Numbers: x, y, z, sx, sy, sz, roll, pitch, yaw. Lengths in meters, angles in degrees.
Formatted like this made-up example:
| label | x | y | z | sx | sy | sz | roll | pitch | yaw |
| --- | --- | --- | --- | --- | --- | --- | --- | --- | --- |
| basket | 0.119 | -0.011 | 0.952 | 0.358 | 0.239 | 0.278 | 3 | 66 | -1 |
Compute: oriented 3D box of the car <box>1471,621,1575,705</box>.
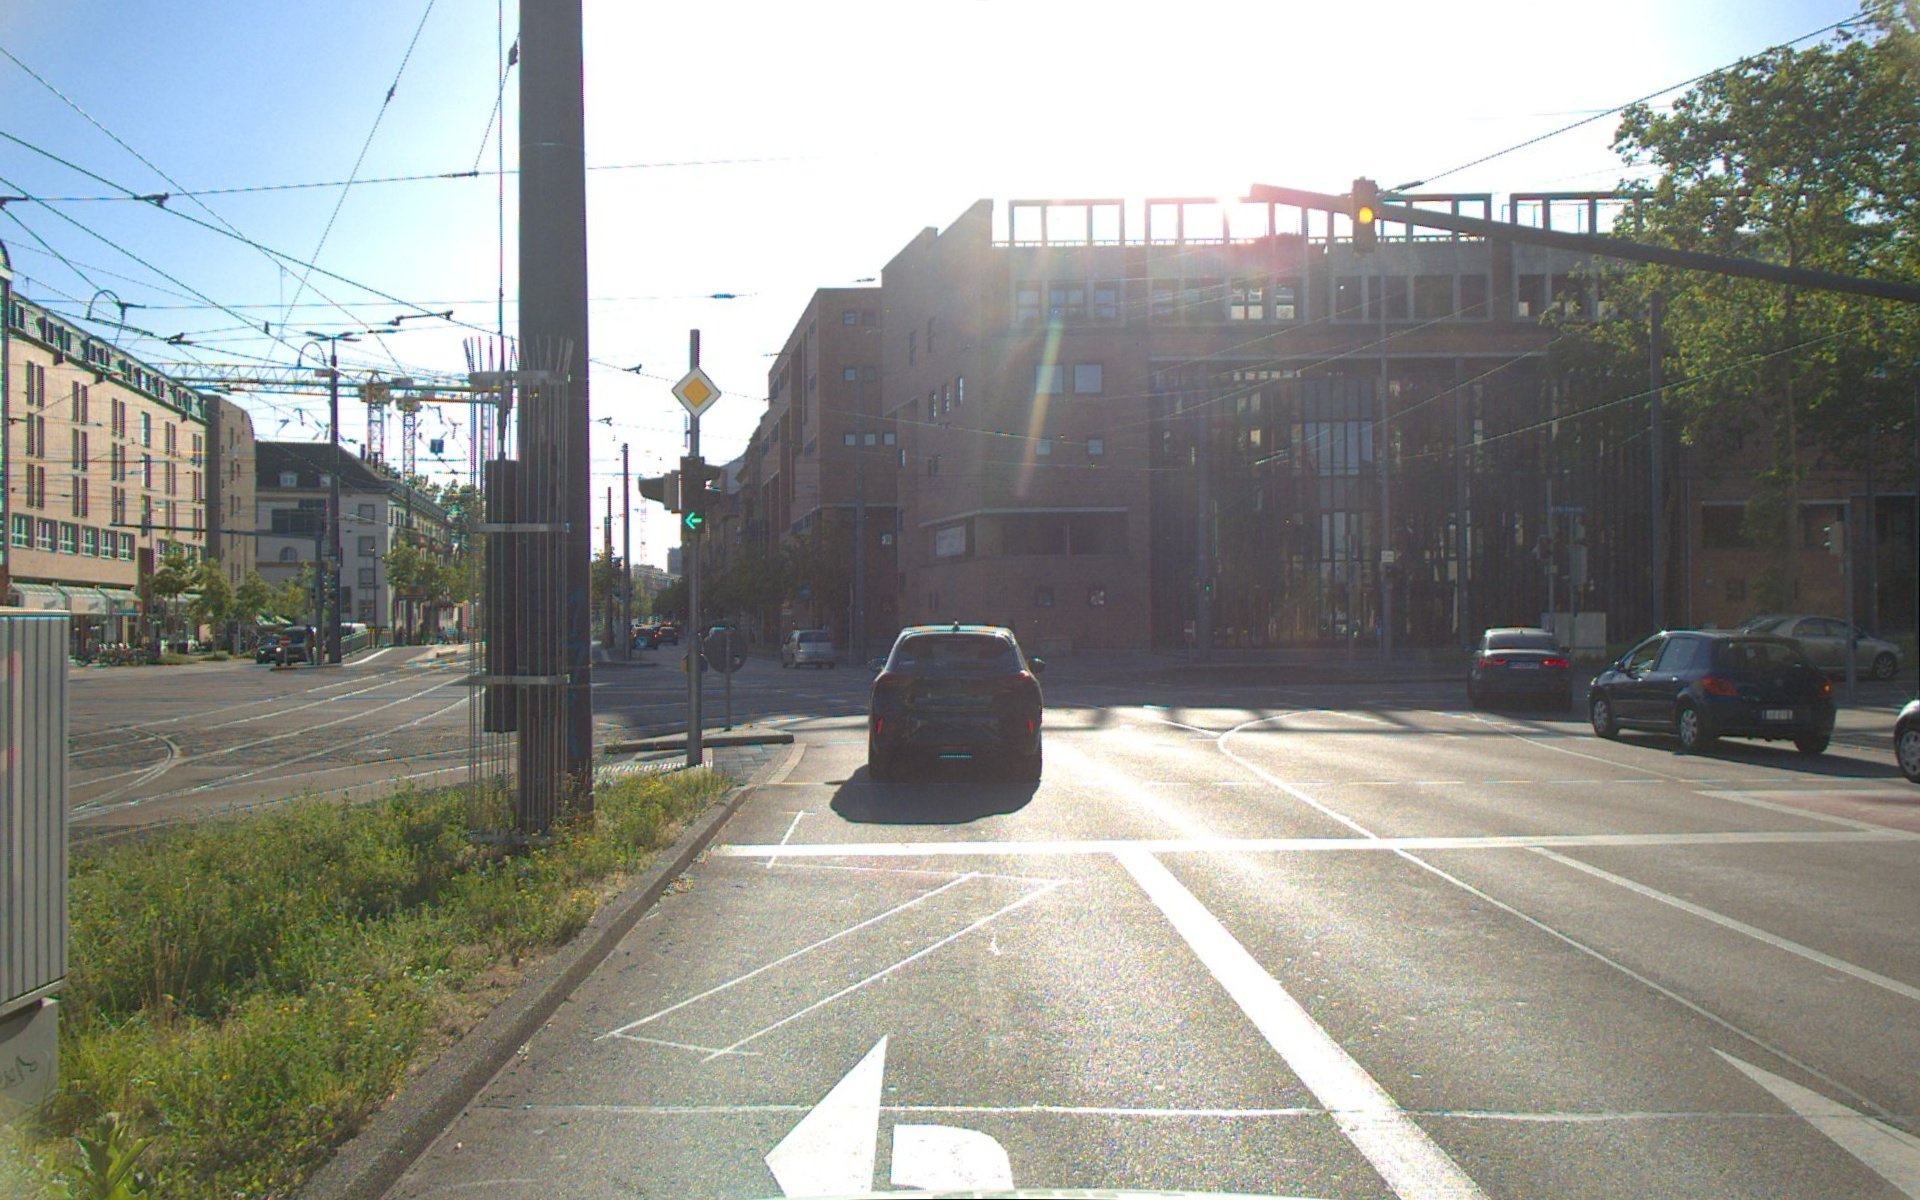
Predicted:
| label | x | y | z | sx | sy | sz | roll | pitch | yaw |
| --- | --- | --- | --- | --- | --- | --- | --- | --- | --- |
| car | 10.411 | 1.135 | 30.776 | 1.659 | 1.465 | 4.021 | 0 | -1 | 16 |

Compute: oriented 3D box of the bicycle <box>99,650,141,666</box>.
| label | x | y | z | sx | sy | sz | roll | pitch | yaw |
| --- | --- | --- | --- | --- | --- | --- | --- | --- | --- |
| bicycle | -46.148 | 3.189 | 90.884 | 1.992 | 0.860 | 0.483 | -1 | -1 | -2 |

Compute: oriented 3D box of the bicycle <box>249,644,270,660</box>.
| label | x | y | z | sx | sy | sz | roll | pitch | yaw |
| --- | --- | --- | --- | --- | --- | --- | --- | --- | --- |
| bicycle | -45.983 | 3.420 | 108.625 | 0.796 | 1.008 | 2.500 | -1 | -1 | -13 |

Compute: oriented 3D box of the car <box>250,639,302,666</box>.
| label | x | y | z | sx | sy | sz | roll | pitch | yaw |
| --- | --- | --- | --- | --- | --- | --- | --- | --- | --- |
| car | -36.456 | 2.762 | 88.218 | 1.808 | 1.290 | 4.215 | -2 | -1 | -13 |

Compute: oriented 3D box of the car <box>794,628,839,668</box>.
| label | x | y | z | sx | sy | sz | roll | pitch | yaw |
| --- | --- | --- | --- | --- | --- | --- | --- | --- | --- |
| car | -5.545 | 1.829 | 63.754 | 1.531 | 1.482 | 3.425 | -1 | -1 | -8 |

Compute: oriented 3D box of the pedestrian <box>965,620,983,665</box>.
| label | x | y | z | sx | sy | sz | roll | pitch | yaw |
| --- | --- | --- | --- | --- | --- | --- | --- | --- | --- |
| pedestrian | 0.580 | 1.734 | 67.544 | 0.563 | 1.817 | 0.546 | -1 | -1 | -20 |

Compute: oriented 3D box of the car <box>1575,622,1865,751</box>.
| label | x | y | z | sx | sy | sz | roll | pitch | yaw |
| --- | --- | --- | --- | --- | --- | --- | --- | --- | --- |
| car | 9.815 | 1.056 | 21.729 | 1.824 | 1.500 | 3.975 | -1 | -1 | -3 |

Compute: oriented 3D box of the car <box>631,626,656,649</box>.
| label | x | y | z | sx | sy | sz | roll | pitch | yaw |
| --- | --- | --- | --- | --- | --- | --- | --- | --- | --- |
| car | -21.862 | 2.563 | 114.189 | 1.690 | 1.479 | 3.687 | -1 | -1 | -11 |

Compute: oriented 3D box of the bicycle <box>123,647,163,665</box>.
| label | x | y | z | sx | sy | sz | roll | pitch | yaw |
| --- | --- | --- | --- | --- | --- | --- | --- | --- | --- |
| bicycle | -46.126 | 3.175 | 93.404 | 1.992 | 0.937 | 0.483 | -1 | -1 | -2 |

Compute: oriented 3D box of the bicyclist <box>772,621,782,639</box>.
| label | x | y | z | sx | sy | sz | roll | pitch | yaw |
| --- | --- | --- | --- | --- | --- | --- | --- | --- | --- |
| bicyclist | -13.537 | 2.214 | 122.426 | 0.634 | 1.363 | 0.651 | -1 | -1 | -10 |

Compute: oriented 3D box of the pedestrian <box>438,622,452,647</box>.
| label | x | y | z | sx | sy | sz | roll | pitch | yaw |
| --- | --- | --- | --- | --- | --- | --- | --- | --- | --- |
| pedestrian | -35.407 | 2.340 | 113.665 | 0.849 | 1.699 | 0.779 | 0 | 0 | -22 |

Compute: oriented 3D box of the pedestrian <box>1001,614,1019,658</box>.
| label | x | y | z | sx | sy | sz | roll | pitch | yaw |
| --- | --- | --- | --- | --- | --- | --- | --- | --- | --- |
| pedestrian | 2.086 | 1.497 | 68.891 | 0.563 | 1.817 | 0.546 | -1 | -1 | -20 |

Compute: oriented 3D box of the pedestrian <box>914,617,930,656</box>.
| label | x | y | z | sx | sy | sz | roll | pitch | yaw |
| --- | --- | --- | --- | --- | --- | --- | --- | --- | --- |
| pedestrian | -1.817 | 1.736 | 78.831 | 0.628 | 1.817 | 0.687 | -1 | -1 | -9 |

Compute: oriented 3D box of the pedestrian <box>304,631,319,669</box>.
| label | x | y | z | sx | sy | sz | roll | pitch | yaw |
| --- | --- | --- | --- | --- | --- | --- | --- | --- | --- |
| pedestrian | -27.497 | 2.123 | 70.112 | 0.573 | 1.604 | 0.641 | 0 | -1 | -25 |

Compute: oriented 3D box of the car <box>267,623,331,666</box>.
| label | x | y | z | sx | sy | sz | roll | pitch | yaw |
| --- | --- | --- | --- | --- | --- | --- | --- | --- | --- |
| car | -31.017 | 2.055 | 77.687 | 1.805 | 1.868 | 4.099 | -2 | -1 | -9 |

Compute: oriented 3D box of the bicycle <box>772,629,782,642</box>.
| label | x | y | z | sx | sy | sz | roll | pitch | yaw |
| --- | --- | --- | --- | --- | --- | --- | --- | --- | --- |
| bicycle | -13.555 | 2.648 | 122.544 | 0.636 | 0.920 | 2.340 | 0 | -1 | -10 |

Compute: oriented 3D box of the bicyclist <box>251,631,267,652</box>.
| label | x | y | z | sx | sy | sz | roll | pitch | yaw |
| --- | --- | --- | --- | --- | --- | --- | --- | --- | --- |
| bicyclist | -45.982 | 2.723 | 108.526 | 0.796 | 1.401 | 0.922 | -1 | -1 | -13 |

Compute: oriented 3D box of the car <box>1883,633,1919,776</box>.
| label | x | y | z | sx | sy | sz | roll | pitch | yaw |
| --- | --- | --- | --- | --- | --- | --- | --- | --- | --- |
| car | 10.347 | 1.018 | 15.218 | 1.627 | 1.413 | 3.534 | 1 | -1 | -3 |

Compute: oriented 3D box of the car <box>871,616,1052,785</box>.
| label | x | y | z | sx | sy | sz | roll | pitch | yaw |
| --- | --- | --- | --- | --- | --- | --- | --- | --- | --- |
| car | -0.007 | 0.938 | 16.947 | 1.638 | 1.528 | 3.689 | 1 | -1 | -1 |

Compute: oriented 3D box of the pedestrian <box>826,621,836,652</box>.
| label | x | y | z | sx | sy | sz | roll | pitch | yaw |
| --- | --- | --- | --- | --- | --- | --- | --- | --- | --- |
| pedestrian | -7.656 | 2.183 | 98.127 | 0.537 | 1.817 | 0.572 | -1 | 2 | -9 |

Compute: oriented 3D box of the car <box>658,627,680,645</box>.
| label | x | y | z | sx | sy | sz | roll | pitch | yaw |
| --- | --- | --- | --- | --- | --- | --- | --- | --- | --- |
| car | -24.763 | 3.075 | 140.652 | 1.690 | 1.479 | 3.687 | -1 | -1 | -11 |

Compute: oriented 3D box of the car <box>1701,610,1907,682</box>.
| label | x | y | z | sx | sy | sz | roll | pitch | yaw |
| --- | --- | --- | --- | --- | --- | --- | --- | --- | --- |
| car | 18.756 | 1.003 | 36.797 | 3.899 | 1.500 | 1.695 | -1 | -1 | -12 |

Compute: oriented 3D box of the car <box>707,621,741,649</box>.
| label | x | y | z | sx | sy | sz | roll | pitch | yaw |
| --- | --- | --- | --- | --- | --- | --- | --- | --- | --- |
| car | -13.276 | 1.961 | 92.841 | 1.641 | 1.479 | 3.687 | -1 | -1 | -11 |

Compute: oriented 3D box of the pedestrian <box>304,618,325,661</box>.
| label | x | y | z | sx | sy | sz | roll | pitch | yaw |
| --- | --- | --- | --- | --- | --- | --- | --- | --- | --- |
| pedestrian | -26.657 | 1.637 | 68.318 | 0.708 | 1.757 | 0.593 | -1 | -1 | -11 |

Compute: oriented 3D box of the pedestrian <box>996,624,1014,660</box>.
| label | x | y | z | sx | sy | sz | roll | pitch | yaw |
| --- | --- | --- | --- | --- | --- | --- | --- | --- | --- |
| pedestrian | 1.923 | 1.756 | 70.034 | 0.541 | 1.503 | 0.568 | 0 | 0 | -29 |

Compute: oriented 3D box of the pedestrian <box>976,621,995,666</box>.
| label | x | y | z | sx | sy | sz | roll | pitch | yaw |
| --- | --- | --- | --- | --- | --- | --- | --- | --- | --- |
| pedestrian | 1.019 | 1.763 | 67.001 | 0.563 | 1.817 | 0.546 | -1 | -1 | -20 |

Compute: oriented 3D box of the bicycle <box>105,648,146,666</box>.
| label | x | y | z | sx | sy | sz | roll | pitch | yaw |
| --- | --- | --- | --- | --- | --- | --- | --- | --- | --- |
| bicycle | -46.467 | 3.174 | 92.088 | 1.992 | 0.937 | 0.483 | -1 | -1 | -2 |

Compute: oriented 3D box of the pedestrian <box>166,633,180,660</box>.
| label | x | y | z | sx | sy | sz | roll | pitch | yaw |
| --- | --- | --- | --- | --- | --- | --- | --- | --- | --- |
| pedestrian | -52.829 | 3.140 | 111.012 | 0.703 | 1.795 | 0.564 | -2 | -1 | -9 |
